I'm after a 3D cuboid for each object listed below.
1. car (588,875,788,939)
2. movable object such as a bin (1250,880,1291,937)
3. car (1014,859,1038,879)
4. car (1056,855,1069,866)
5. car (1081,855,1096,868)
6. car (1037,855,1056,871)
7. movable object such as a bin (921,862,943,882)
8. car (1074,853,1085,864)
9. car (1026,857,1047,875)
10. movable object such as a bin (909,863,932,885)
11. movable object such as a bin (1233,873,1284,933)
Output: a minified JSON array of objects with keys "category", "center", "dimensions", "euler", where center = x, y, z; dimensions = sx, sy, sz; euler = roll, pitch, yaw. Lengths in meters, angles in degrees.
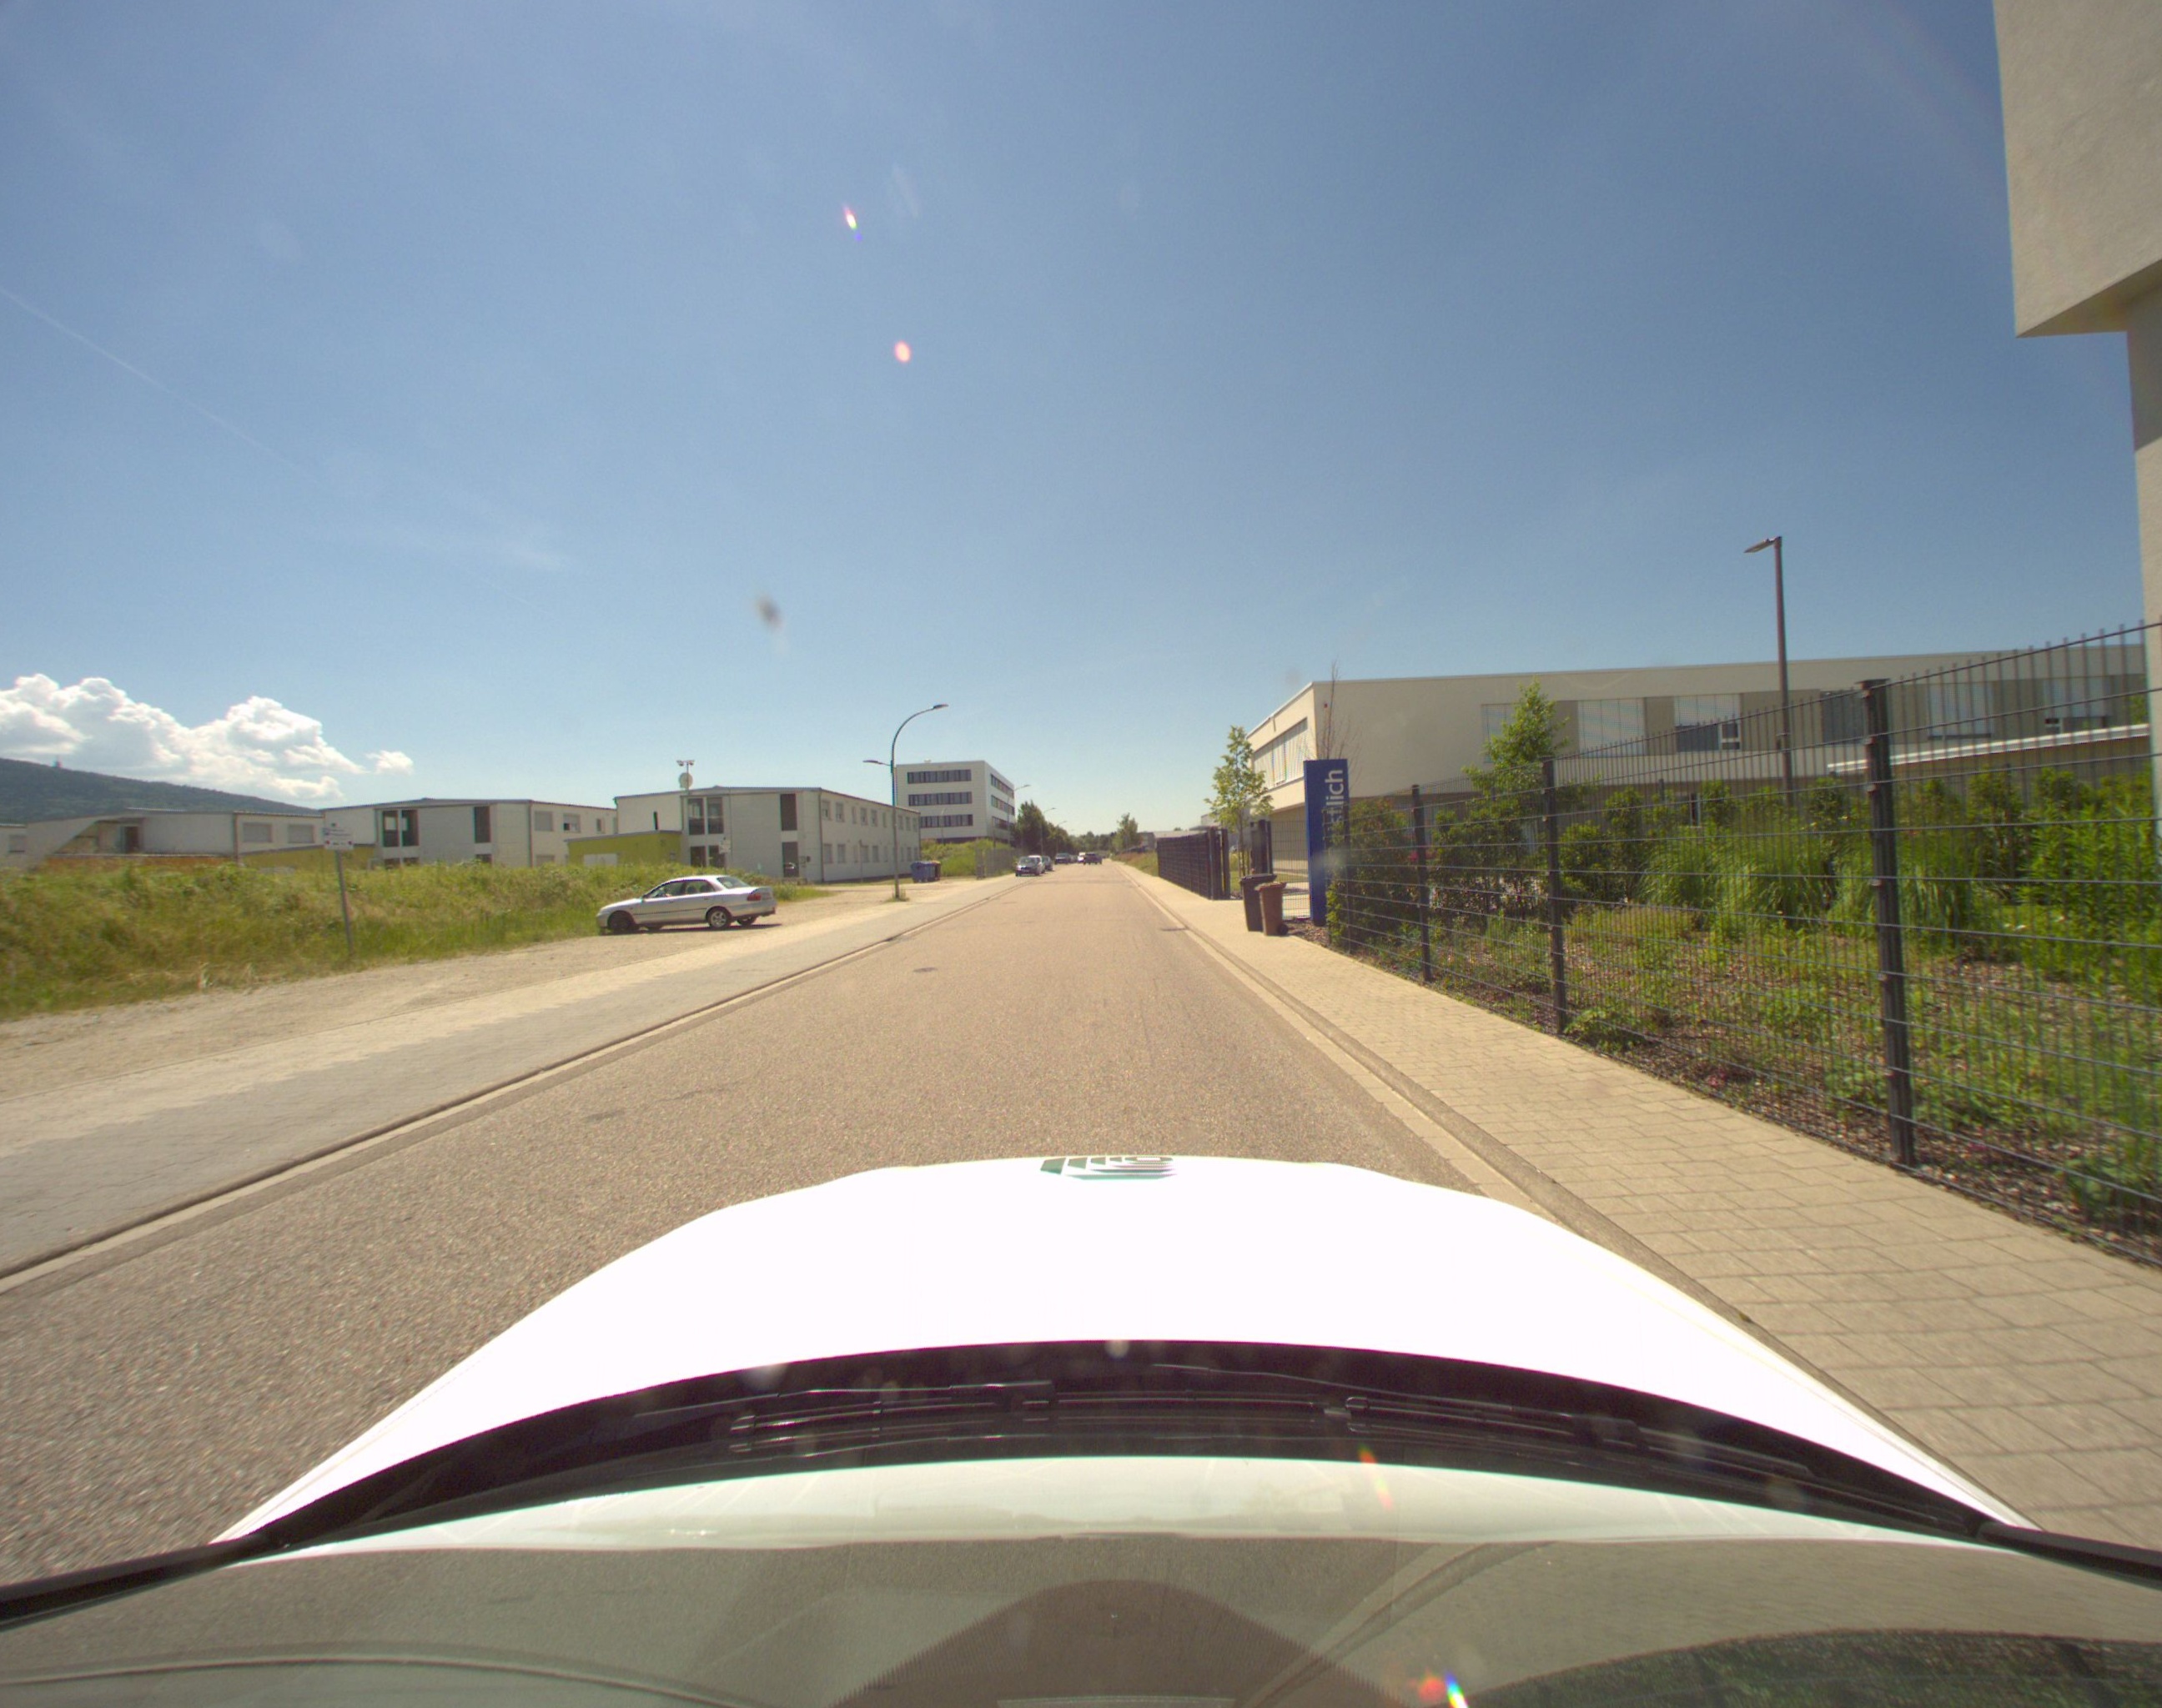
[{"category":"car","center":[-10.222,1.355,21.403],"dimensions":[4.262,1.364,1.898],"euler":[-3,0,1]},{"category":"movable object such as a bin","center":[3.392,0.974,14.623],"dimensions":[0.549,0.928,0.522],"euler":[-7,0,5]},{"category":"car","center":[-4.184,1.128,62.571],"dimensions":[1.461,1.490,3.208],"euler":[-2,0,2]},{"category":"car","center":[-2.707,0.899,117.555],"dimensions":[1.638,1.490,3.208],"euler":[-2,0,2]},{"category":"car","center":[1.026,0.948,106.468],"dimensions":[1.819,1.642,3.208],"euler":[-2,0,2]},{"category":"car","center":[-3.311,0.858,78.484],"dimensions":[1.461,1.490,3.208],"euler":[-2,0,2]},{"category":"movable object such as a bin","center":[-10.947,1.322,59.990],"dimensions":[1.282,1.412,1.805],"euler":[-2,0,-3]},{"category":"car","center":[-0.271,0.700,125.194],"dimensions":[1.501,1.642,3.208],"euler":[-2,0,2]},{"category":"car","center":[-3.728,1.011,69.261],"dimensions":[1.461,1.490,3.208],"euler":[-2,0,2]},{"category":"movable object such as a bin","center":[-11.119,1.373,56.400],"dimensions":[1.282,1.412,1.805],"euler":[-2,0,-3]},{"category":"movable object such as a bin","center":[3.392,0.921,15.607],"dimensions":[0.775,1.019,0.666],"euler":[-7,0,5]}]
